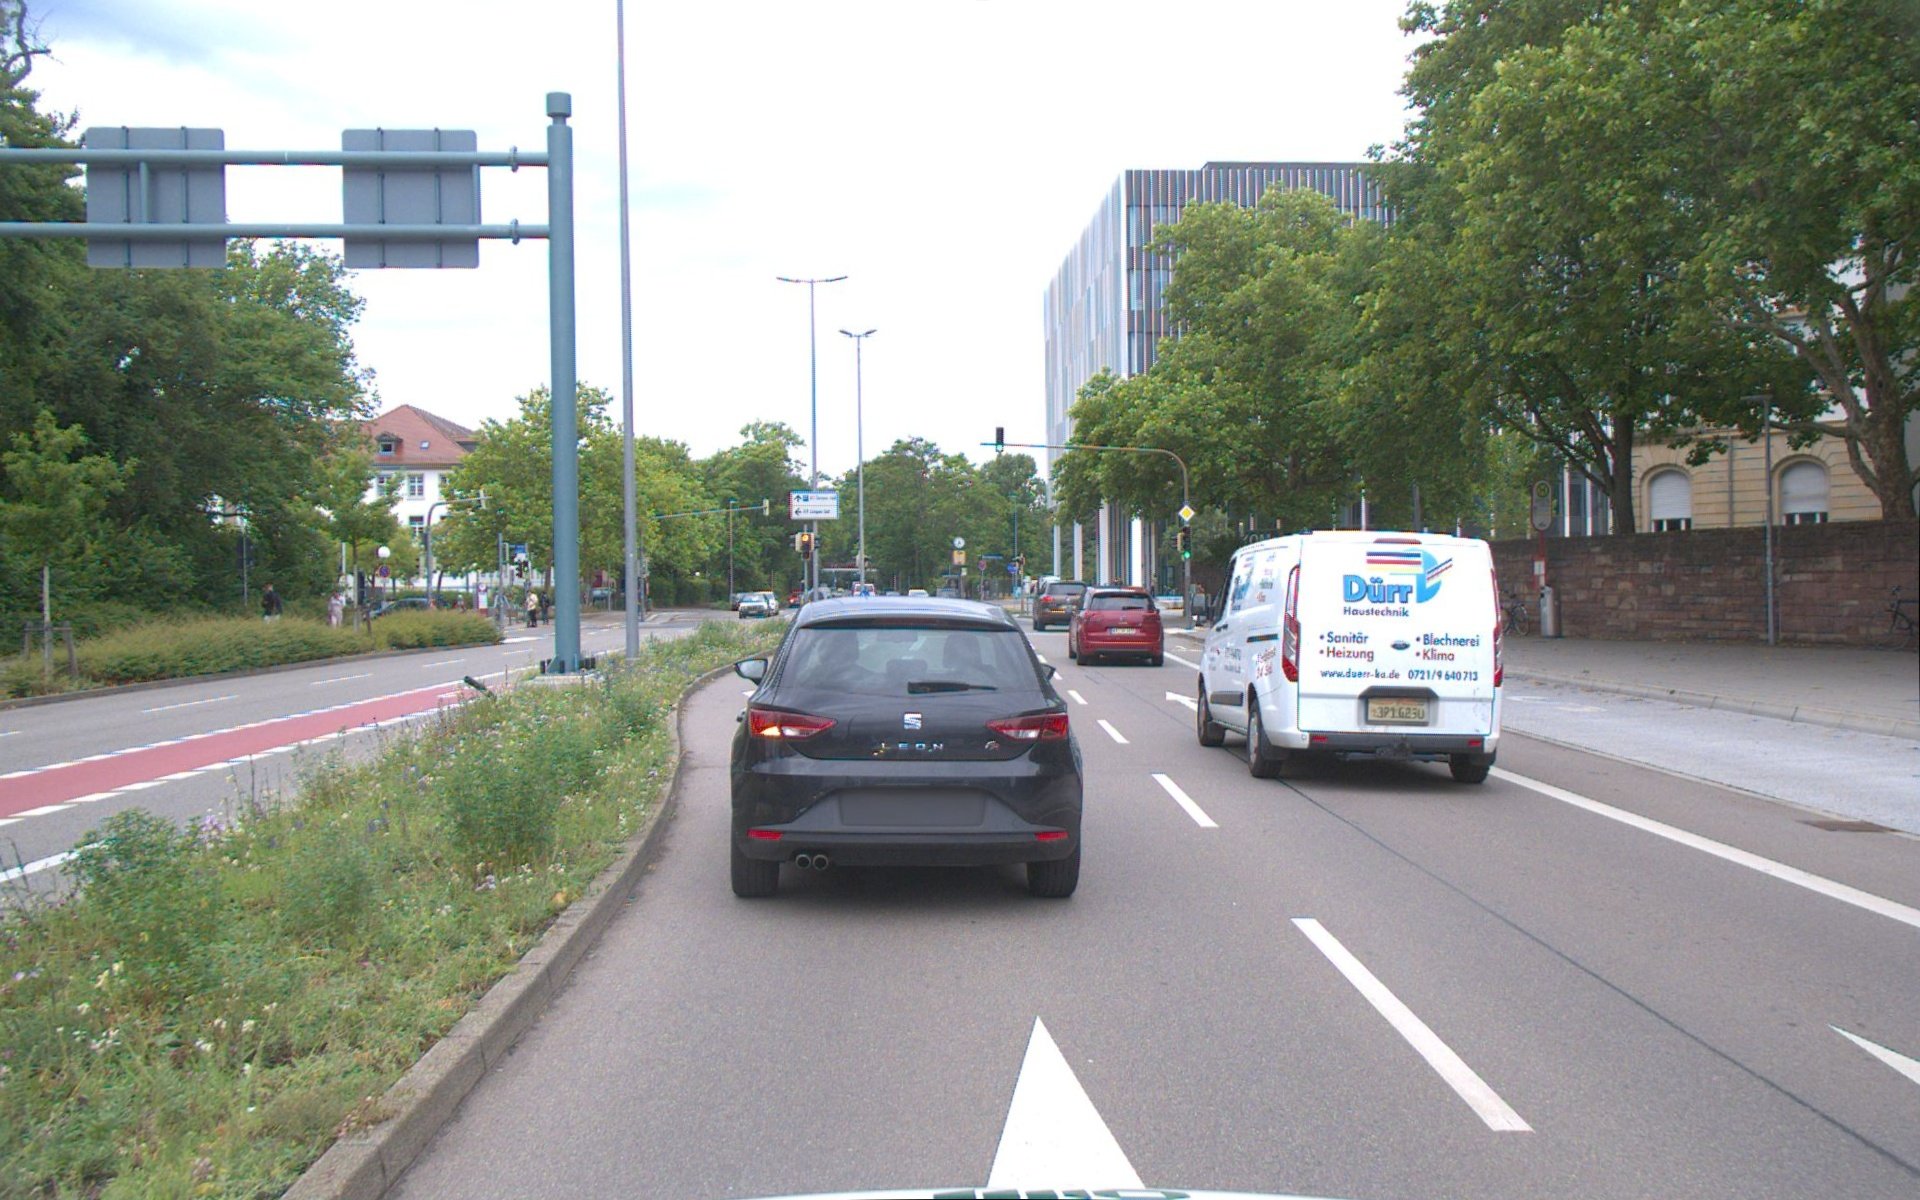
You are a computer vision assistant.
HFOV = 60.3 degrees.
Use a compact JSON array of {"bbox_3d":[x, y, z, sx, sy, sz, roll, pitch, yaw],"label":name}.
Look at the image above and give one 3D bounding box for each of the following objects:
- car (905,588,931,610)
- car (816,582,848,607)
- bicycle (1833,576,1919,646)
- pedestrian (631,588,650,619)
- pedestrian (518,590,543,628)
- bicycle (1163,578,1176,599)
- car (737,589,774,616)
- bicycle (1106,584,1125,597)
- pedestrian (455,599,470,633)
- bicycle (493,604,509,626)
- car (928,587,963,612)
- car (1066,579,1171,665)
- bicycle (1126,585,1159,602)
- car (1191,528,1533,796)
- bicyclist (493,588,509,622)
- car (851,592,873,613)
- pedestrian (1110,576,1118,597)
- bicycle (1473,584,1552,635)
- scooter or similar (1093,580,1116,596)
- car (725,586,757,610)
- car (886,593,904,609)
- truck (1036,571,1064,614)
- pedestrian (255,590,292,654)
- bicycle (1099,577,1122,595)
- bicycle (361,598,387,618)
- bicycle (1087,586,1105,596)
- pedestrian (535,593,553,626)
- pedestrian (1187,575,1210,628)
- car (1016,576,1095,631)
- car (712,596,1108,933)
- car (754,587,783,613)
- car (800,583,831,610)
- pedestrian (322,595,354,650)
[{"bbox_3d":[-2.933,-0.056,114.581,1.584,1.377,3.998,-3,1,-3],"label":"car"},{"bbox_3d":[-9.196,-0.392,119.185,1.881,1.693,4.399,-3,0,0],"label":"car"},{"bbox_3d":[15.740,0.173,27.785,0.710,1.119,1.775,-3,1,-29],"label":"bicycle"},{"bbox_3d":[-17.255,0.167,89.348,0.858,1.613,0.543,-2,1,-7],"label":"pedestrian"},{"bbox_3d":[-20.636,0.415,79.469,0.834,1.770,0.819,0,-5,-39],"label":"pedestrian"},{"bbox_3d":[13.663,-0.756,107.955,0.515,1.275,1.666,-2,1,18],"label":"bicycle"},{"bbox_3d":[-11.692,0.127,94.635,1.575,1.405,3.809,-2,1,0],"label":"car"},{"bbox_3d":[11.233,-0.713,119.514,1.421,0.872,0.361,-3,1,-27],"label":"bicycle"},{"bbox_3d":[-23.763,0.766,79.033,0.562,1.553,0.842,-1,-4,-24],"label":"pedestrian"},{"bbox_3d":[-22.472,0.746,80.919,0.656,1.081,1.610,0,0,-19],"label":"bicycle"},{"bbox_3d":[-0.892,-0.052,99.979,1.861,1.377,3.880,-3,1,-3],"label":"car"},{"bbox_3d":[3.292,0.418,34.910,1.909,1.652,3.750,0,1,1],"label":"car"},{"bbox_3d":[11.031,-0.390,99.893,1.859,0.914,0.693,-3,1,-21],"label":"bicycle"},{"bbox_3d":[3.351,0.440,14.707,1.926,2.006,4.343,1,1,-1],"label":"car"},{"bbox_3d":[-22.451,0.250,80.901,0.656,1.664,0.956,0,-1,-19],"label":"bicyclist"},{"bbox_3d":[-7.746,0.174,130.771,1.662,1.530,4.007,-3,1,-3],"label":"car"},{"bbox_3d":[10.440,-0.918,112.245,0.462,1.385,0.446,-2,1,10],"label":"pedestrian"},{"bbox_3d":[13.236,0.209,39.674,0.834,1.147,1.916,-3,1,-15],"label":"bicycle"},{"bbox_3d":[10.639,-0.872,121.871,1.655,1.126,0.493,-3,1,-32],"label":"scooter or similar"},{"bbox_3d":[-17.188,-0.170,129.880,1.867,1.746,4.000,-2,1,0],"label":"car"},{"bbox_3d":[-5.692,0.069,144.520,1.475,1.214,3.161,-3,1,-3],"label":"car"},{"bbox_3d":[5.006,-0.422,92.011,1.291,2.282,3.401,-2,1,0],"label":"truck"},{"bbox_3d":[-19.224,0.608,46.308,0.607,1.759,0.818,-2,1,0],"label":"pedestrian"},{"bbox_3d":[11.039,-0.997,121.292,1.757,1.232,0.563,-3,1,-34],"label":"bicycle"},{"bbox_3d":[-34.734,0.467,98.078,1.381,1.070,0.585,-3,1,-20],"label":"bicycle"},{"bbox_3d":[10.486,-0.684,127.756,1.346,0.717,0.416,-2,1,3],"label":"bicycle"},{"bbox_3d":[-20.547,0.485,81.674,0.777,1.585,0.695,-1,-3,-20],"label":"pedestrian"},{"bbox_3d":[8.037,0.042,55.772,0.452,1.769,0.548,-3,1,-39],"label":"pedestrian"},{"bbox_3d":[3.154,0.073,55.443,1.878,1.693,4.108,-3,1,-7],"label":"car"},{"bbox_3d":[-0.233,0.714,9.101,1.717,1.457,3.769,0,0,-1],"label":"car"},{"bbox_3d":[-11.763,-0.012,101.941,1.672,1.456,4.222,-3,1,-6],"label":"car"},{"bbox_3d":[-8.764,-0.188,100.365,1.730,1.485,4.786,-3,0,-5],"label":"car"},{"bbox_3d":[-19.604,0.697,52.121,0.686,1.664,0.671,-2,1,0],"label":"pedestrian"}]
